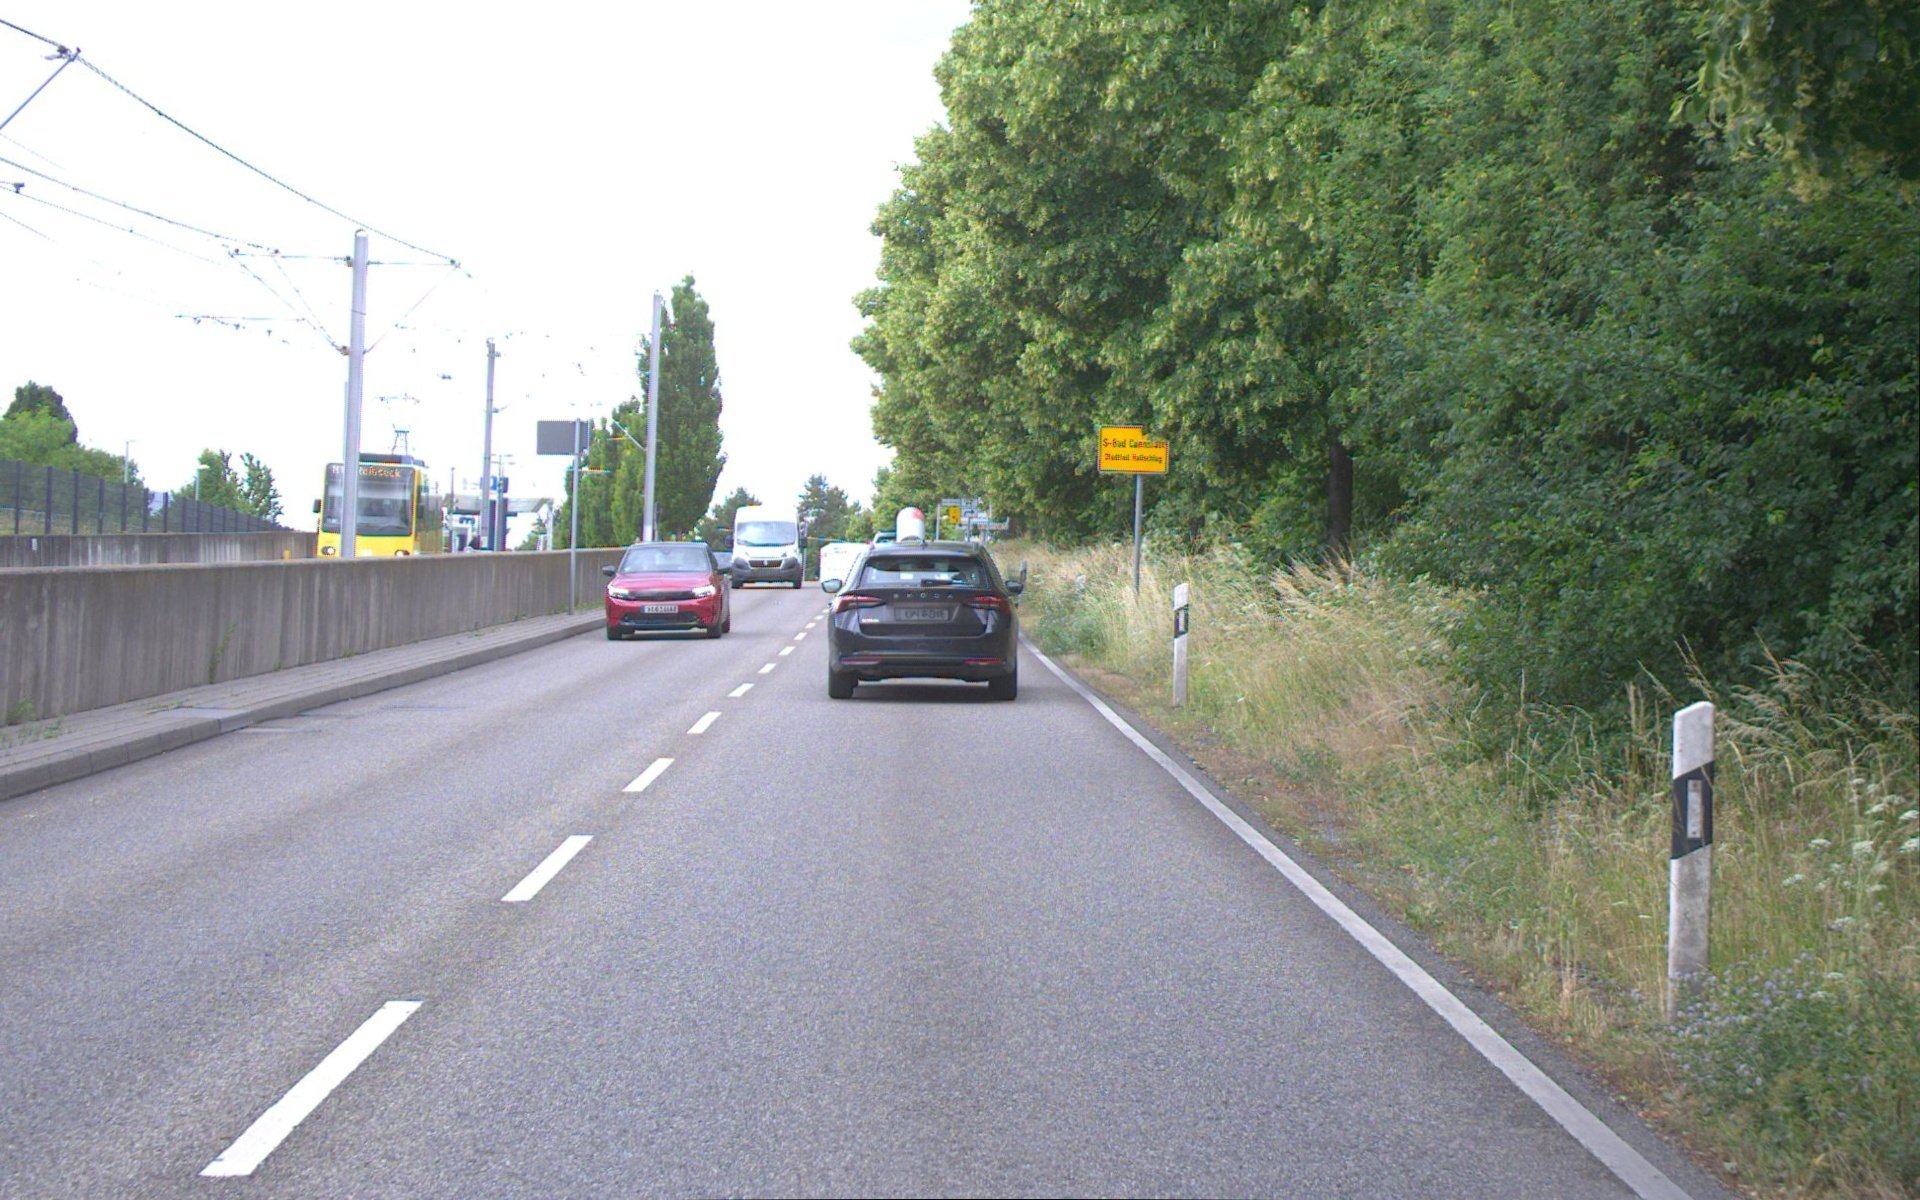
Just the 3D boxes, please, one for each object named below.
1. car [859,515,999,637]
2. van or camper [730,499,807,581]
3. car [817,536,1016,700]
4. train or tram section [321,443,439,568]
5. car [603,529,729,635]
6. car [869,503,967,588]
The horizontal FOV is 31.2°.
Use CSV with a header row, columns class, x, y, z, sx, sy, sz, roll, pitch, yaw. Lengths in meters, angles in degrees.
class,x,y,z,sx,sy,sz,roll,pitch,yaw
car,-0.475,-0.384,51.099,1.993,1.747,4.000,0,1,-1
van or camper,-5.769,-1.833,104.072,2.082,2.388,6.138,1,1,-1
car,-0.419,0.138,32.730,1.781,1.463,4.000,0,1,-1
train or tram section,-16.191,-2.491,96.916,2.811,3.106,18.920,0,0,-8
car,-4.420,-0.304,52.079,1.662,1.540,3.953,0,1,-1
car,-0.887,-1.130,72.599,1.993,1.734,4.000,0,0,-1
